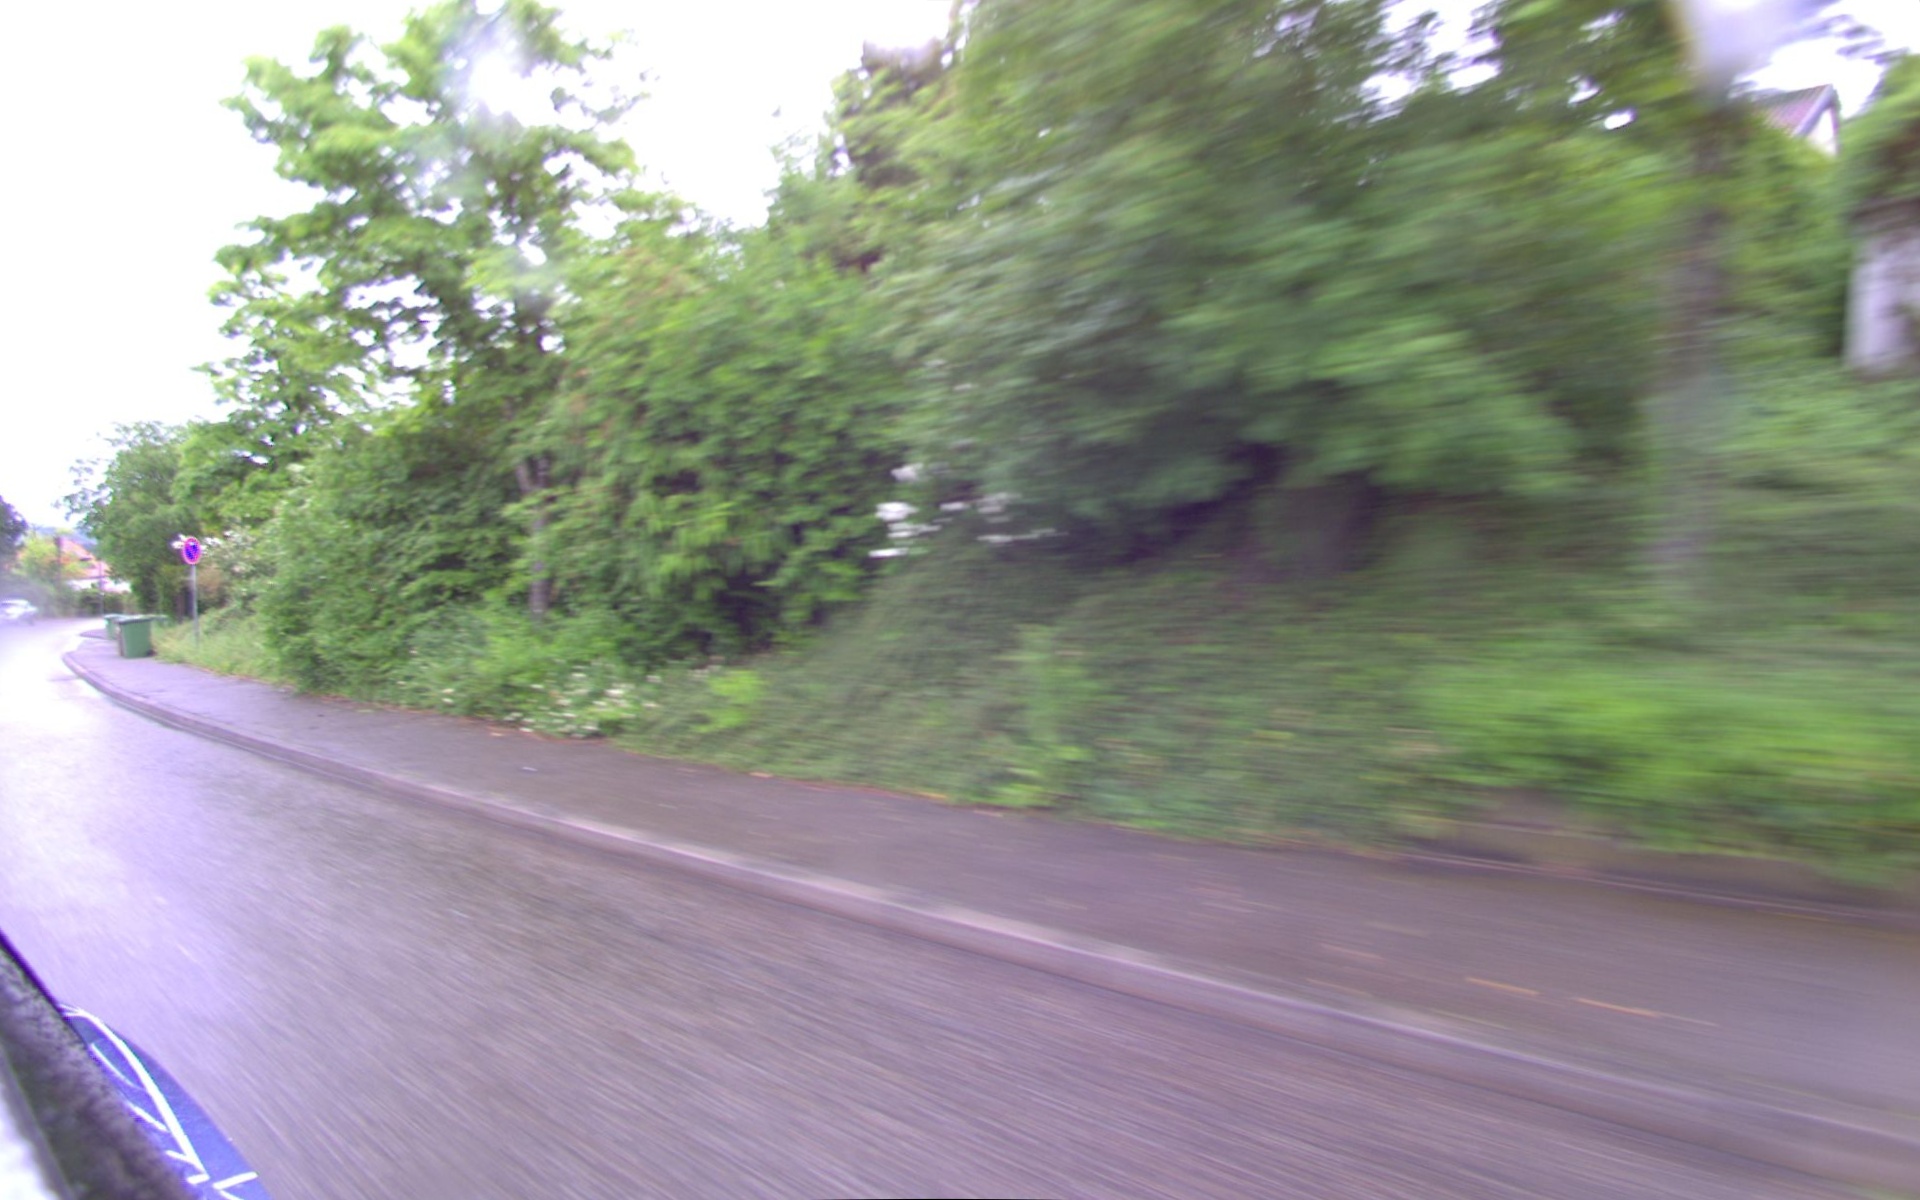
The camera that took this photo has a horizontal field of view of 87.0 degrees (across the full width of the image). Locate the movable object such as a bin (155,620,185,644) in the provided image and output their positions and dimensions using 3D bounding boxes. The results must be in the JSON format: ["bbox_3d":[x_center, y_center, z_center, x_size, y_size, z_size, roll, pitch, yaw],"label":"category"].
[{"bbox_3d":[-36.819,1.502,47.174,0.710,1.035,0.779,-2,2,3],"label":"movable object such as a bin"}]

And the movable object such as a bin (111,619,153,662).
[{"bbox_3d":[-21.713,1.049,26.535,0.690,1.076,0.760,-1,-1,41],"label":"movable object such as a bin"}]

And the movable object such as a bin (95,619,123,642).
[{"bbox_3d":[-40.322,1.447,47.951,0.716,1.035,0.773,-1,2,26],"label":"movable object such as a bin"}]

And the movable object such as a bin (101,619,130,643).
[{"bbox_3d":[-39.685,1.447,47.575,0.716,1.035,0.773,-1,2,26],"label":"movable object such as a bin"}]

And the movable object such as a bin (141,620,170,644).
[{"bbox_3d":[-37.543,1.481,47.227,0.710,1.035,0.779,-2,2,3],"label":"movable object such as a bin"}]

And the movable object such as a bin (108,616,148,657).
[{"bbox_3d":[-23.126,1.014,28.119,0.738,1.105,0.760,-1,-1,41],"label":"movable object such as a bin"}]

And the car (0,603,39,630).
[{"bbox_3d":[-67.118,1.143,71.661,1.839,1.832,4.877,0,0,-30],"label":"car"}]

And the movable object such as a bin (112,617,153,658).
[{"bbox_3d":[-22.553,1.010,27.581,0.738,1.105,0.760,-1,-1,41],"label":"movable object such as a bin"}]

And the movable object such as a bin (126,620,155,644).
[{"bbox_3d":[-38.278,1.476,47.276,0.710,1.035,0.779,-2,2,3],"label":"movable object such as a bin"}]

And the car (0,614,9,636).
[{"bbox_3d":[-64.218,1.637,66.464,1.725,1.434,4.012,0,0,-31],"label":"car"}]
